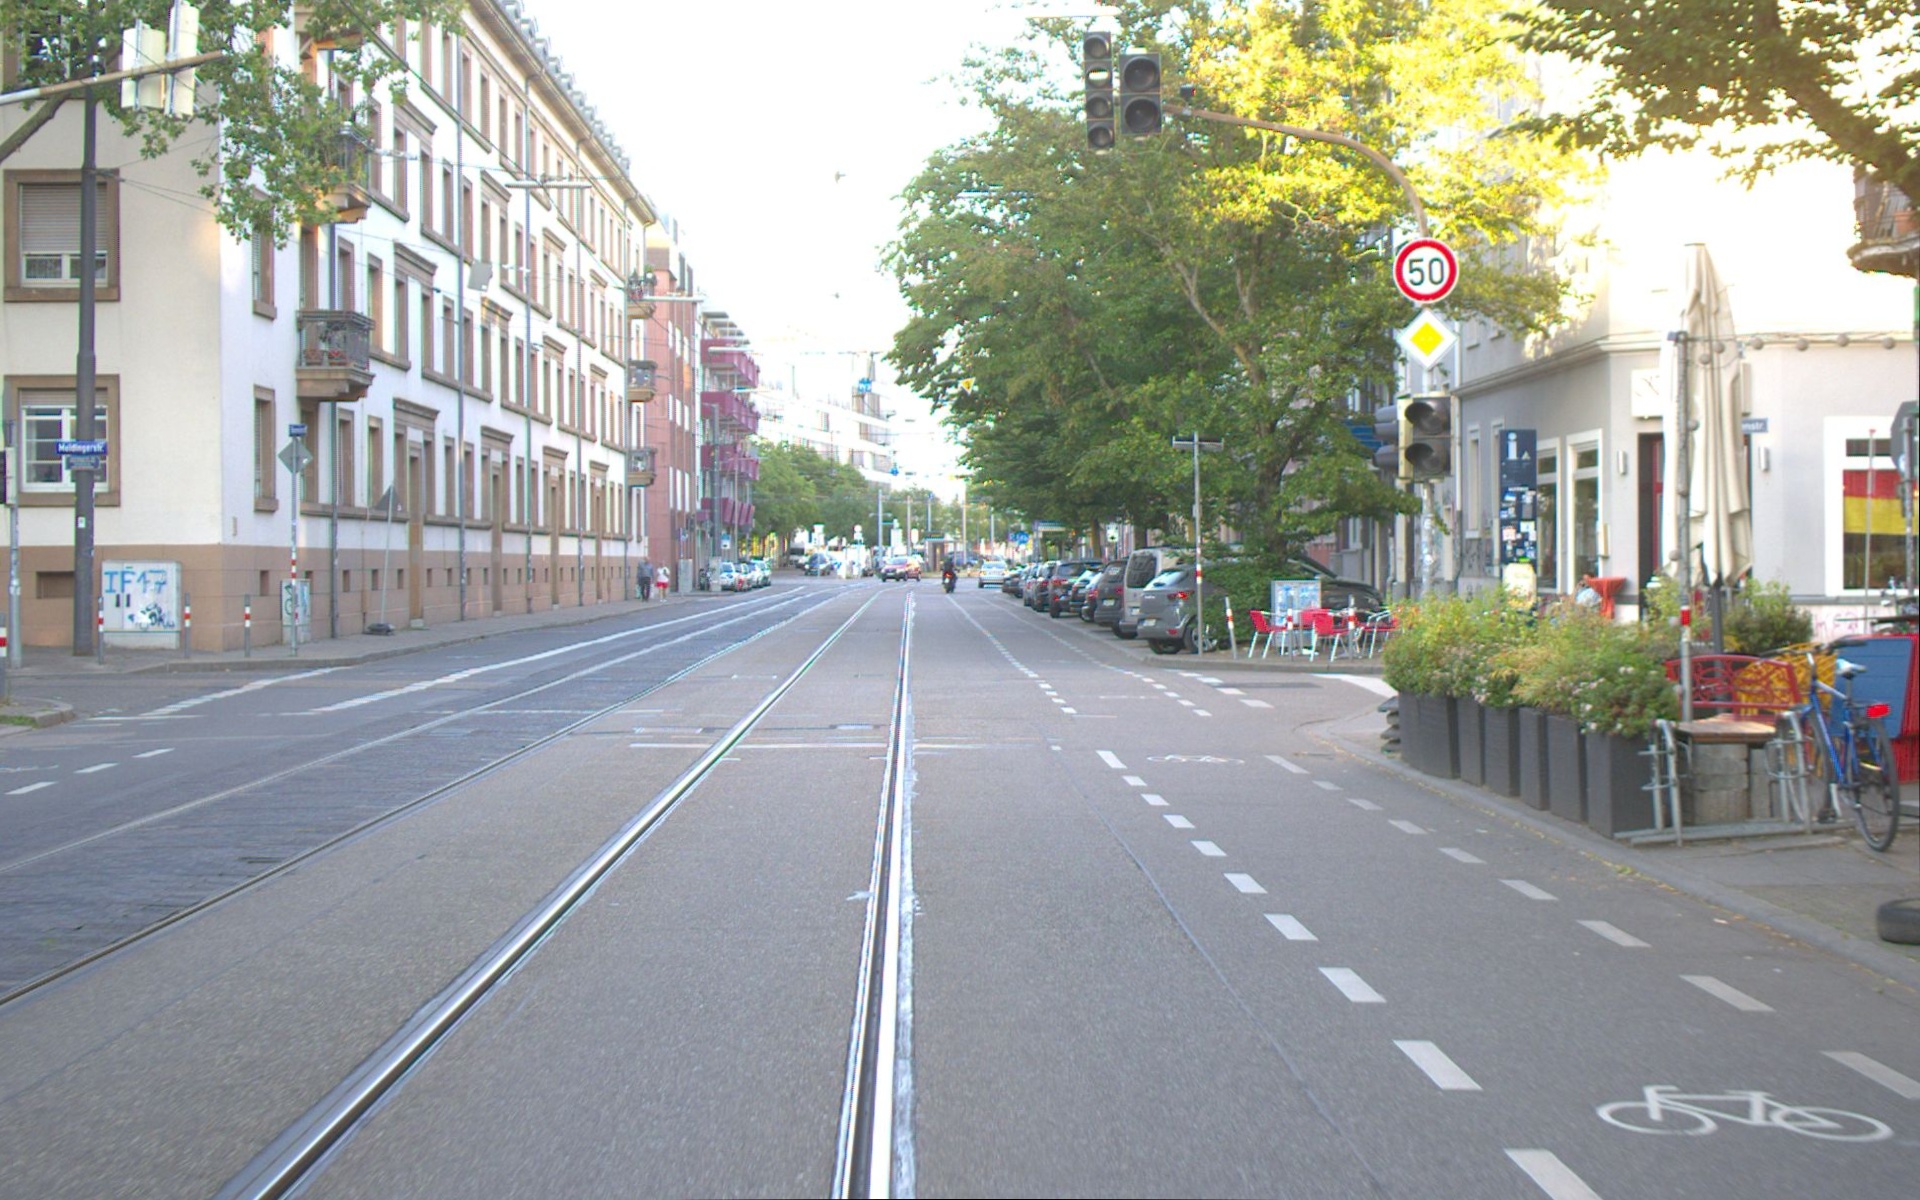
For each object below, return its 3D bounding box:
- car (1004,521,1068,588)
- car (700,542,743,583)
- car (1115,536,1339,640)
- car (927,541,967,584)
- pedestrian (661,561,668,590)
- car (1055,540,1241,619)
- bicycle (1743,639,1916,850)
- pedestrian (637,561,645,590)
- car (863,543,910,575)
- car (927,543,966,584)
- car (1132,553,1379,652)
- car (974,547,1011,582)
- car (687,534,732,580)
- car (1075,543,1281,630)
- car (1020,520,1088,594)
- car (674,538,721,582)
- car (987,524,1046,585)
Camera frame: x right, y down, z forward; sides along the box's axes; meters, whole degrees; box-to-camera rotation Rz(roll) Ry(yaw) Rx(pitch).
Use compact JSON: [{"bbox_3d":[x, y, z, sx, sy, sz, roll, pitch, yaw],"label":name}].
[{"bbox_3d":[2.302,-1.395,105.050,1.804,2.007,4.000,1,1,-1],"label":"car"},{"bbox_3d":[-11.951,-1.904,172.156,1.898,2.007,4.000,1,1,-1],"label":"car"},{"bbox_3d":[4.771,-0.222,61.838,3.887,1.842,1.861,0,0,1],"label":"car"},{"bbox_3d":[-0.642,-1.799,165.022,1.898,2.007,4.000,1,1,-1],"label":"car"},{"bbox_3d":[-11.129,-0.923,129.477,0.294,1.106,0.252,0,0,-5],"label":"pedestrian"},{"bbox_3d":[3.996,-0.437,73.462,3.887,1.655,1.861,0,0,1],"label":"car"},{"bbox_3d":[4.576,0.737,18.174,0.418,1.012,1.830,1,1,-1],"label":"bicycle"},{"bbox_3d":[-12.019,-0.925,129.436,0.294,1.106,0.252,0,0,-5],"label":"pedestrian"},{"bbox_3d":[-4.657,-2.601,219.105,1.995,2.007,3.997,1,1,14],"label":"car"},{"bbox_3d":[-0.708,-1.847,172.449,1.898,2.007,4.000,1,1,-1],"label":"car"},{"bbox_3d":[4.807,0.039,56.293,3.887,1.587,1.861,0,0,1],"label":"car"},{"bbox_3d":[1.827,-2.005,192.319,1.963,1.712,4.001,1,4,-1],"label":"car"},{"bbox_3d":[-12.143,-2.069,166.596,1.898,2.171,4.000,1,1,-1],"label":"car"},{"bbox_3d":[4.207,-0.260,66.693,3.887,1.655,1.861,0,0,1],"label":"car"},{"bbox_3d":[2.587,-1.194,95.361,1.721,2.007,4.000,1,1,-1],"label":"car"},{"bbox_3d":[-12.349,-1.888,161.952,1.898,2.007,4.000,1,1,-1],"label":"car"},{"bbox_3d":[1.912,-1.562,117.863,1.898,2.007,4.000,1,1,-1],"label":"car"}]
